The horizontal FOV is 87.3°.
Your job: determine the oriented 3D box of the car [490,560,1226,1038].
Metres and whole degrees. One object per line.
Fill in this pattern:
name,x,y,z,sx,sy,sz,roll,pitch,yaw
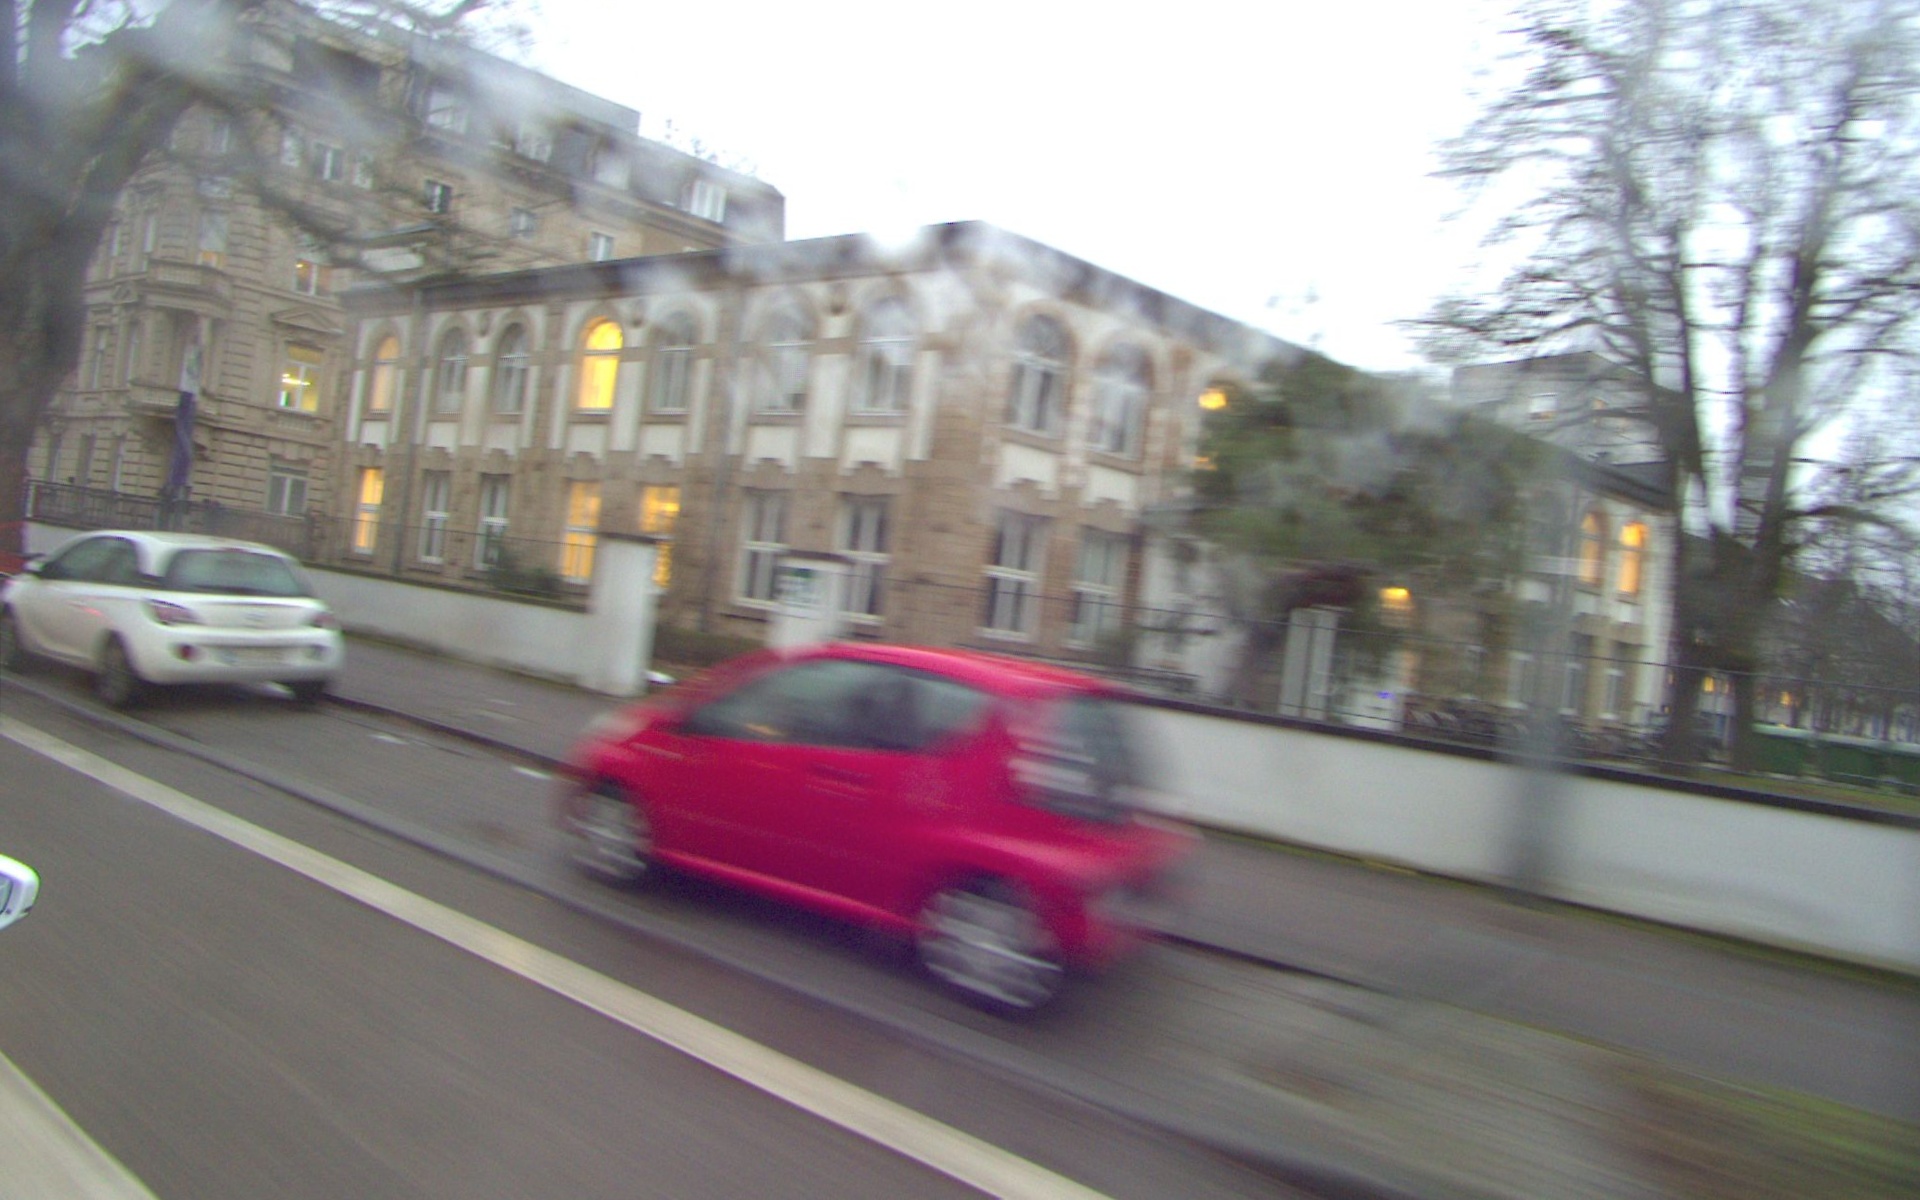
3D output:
car,-0.596,0.813,5.468,3.511,1.541,1.647,7,-1,29

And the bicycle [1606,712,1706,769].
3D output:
bicycle,19.028,3.828,27.574,0.567,1.171,2.126,7,0,-28

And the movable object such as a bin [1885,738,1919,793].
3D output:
movable object such as a bin,23.935,4.166,24.768,0.979,1.240,1.424,7,0,-35

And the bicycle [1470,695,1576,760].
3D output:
bicycle,13.390,3.016,23.993,0.567,1.171,2.126,7,0,-28

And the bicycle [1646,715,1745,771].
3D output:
bicycle,20.754,4.023,28.438,0.567,1.171,2.126,7,0,-28

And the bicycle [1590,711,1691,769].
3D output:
bicycle,18.295,3.753,27.089,0.567,1.171,2.126,7,0,-28

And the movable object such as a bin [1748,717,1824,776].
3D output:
movable object such as a bin,22.196,3.936,27.029,0.979,1.330,1.251,7,0,-35

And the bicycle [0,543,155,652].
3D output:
bicycle,-10.177,-0.031,11.184,0.652,1.084,1.716,8,0,31

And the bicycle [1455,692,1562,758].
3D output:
bicycle,12.870,2.921,23.678,0.567,1.171,2.126,7,0,-28

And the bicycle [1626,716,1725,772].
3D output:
bicycle,19.882,3.990,28.009,0.567,1.171,2.126,7,0,-28

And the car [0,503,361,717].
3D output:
car,-7.718,0.049,9.697,3.575,1.538,1.695,7,0,30

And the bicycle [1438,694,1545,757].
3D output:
bicycle,12.301,2.900,23.363,0.567,1.030,2.125,7,2,-28

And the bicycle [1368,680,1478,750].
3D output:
bicycle,9.968,2.454,21.748,0.567,1.171,2.126,7,0,-28

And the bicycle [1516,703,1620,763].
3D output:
bicycle,15.160,3.294,25.156,0.567,1.124,2.126,7,0,-28

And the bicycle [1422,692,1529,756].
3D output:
bicycle,11.756,2.814,23.028,0.567,1.064,2.125,7,1,-28

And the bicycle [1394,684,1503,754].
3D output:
bicycle,10.750,2.600,22.212,0.567,1.171,2.126,7,0,-28

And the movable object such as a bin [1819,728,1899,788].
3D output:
movable object such as a bin,23.312,4.101,26.097,0.979,1.295,1.239,7,0,-35

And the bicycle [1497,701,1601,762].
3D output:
bicycle,14.403,3.197,24.670,0.567,1.105,2.126,7,0,-28

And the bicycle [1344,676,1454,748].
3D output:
bicycle,9.247,2.349,21.295,0.567,1.171,2.126,7,0,-28
